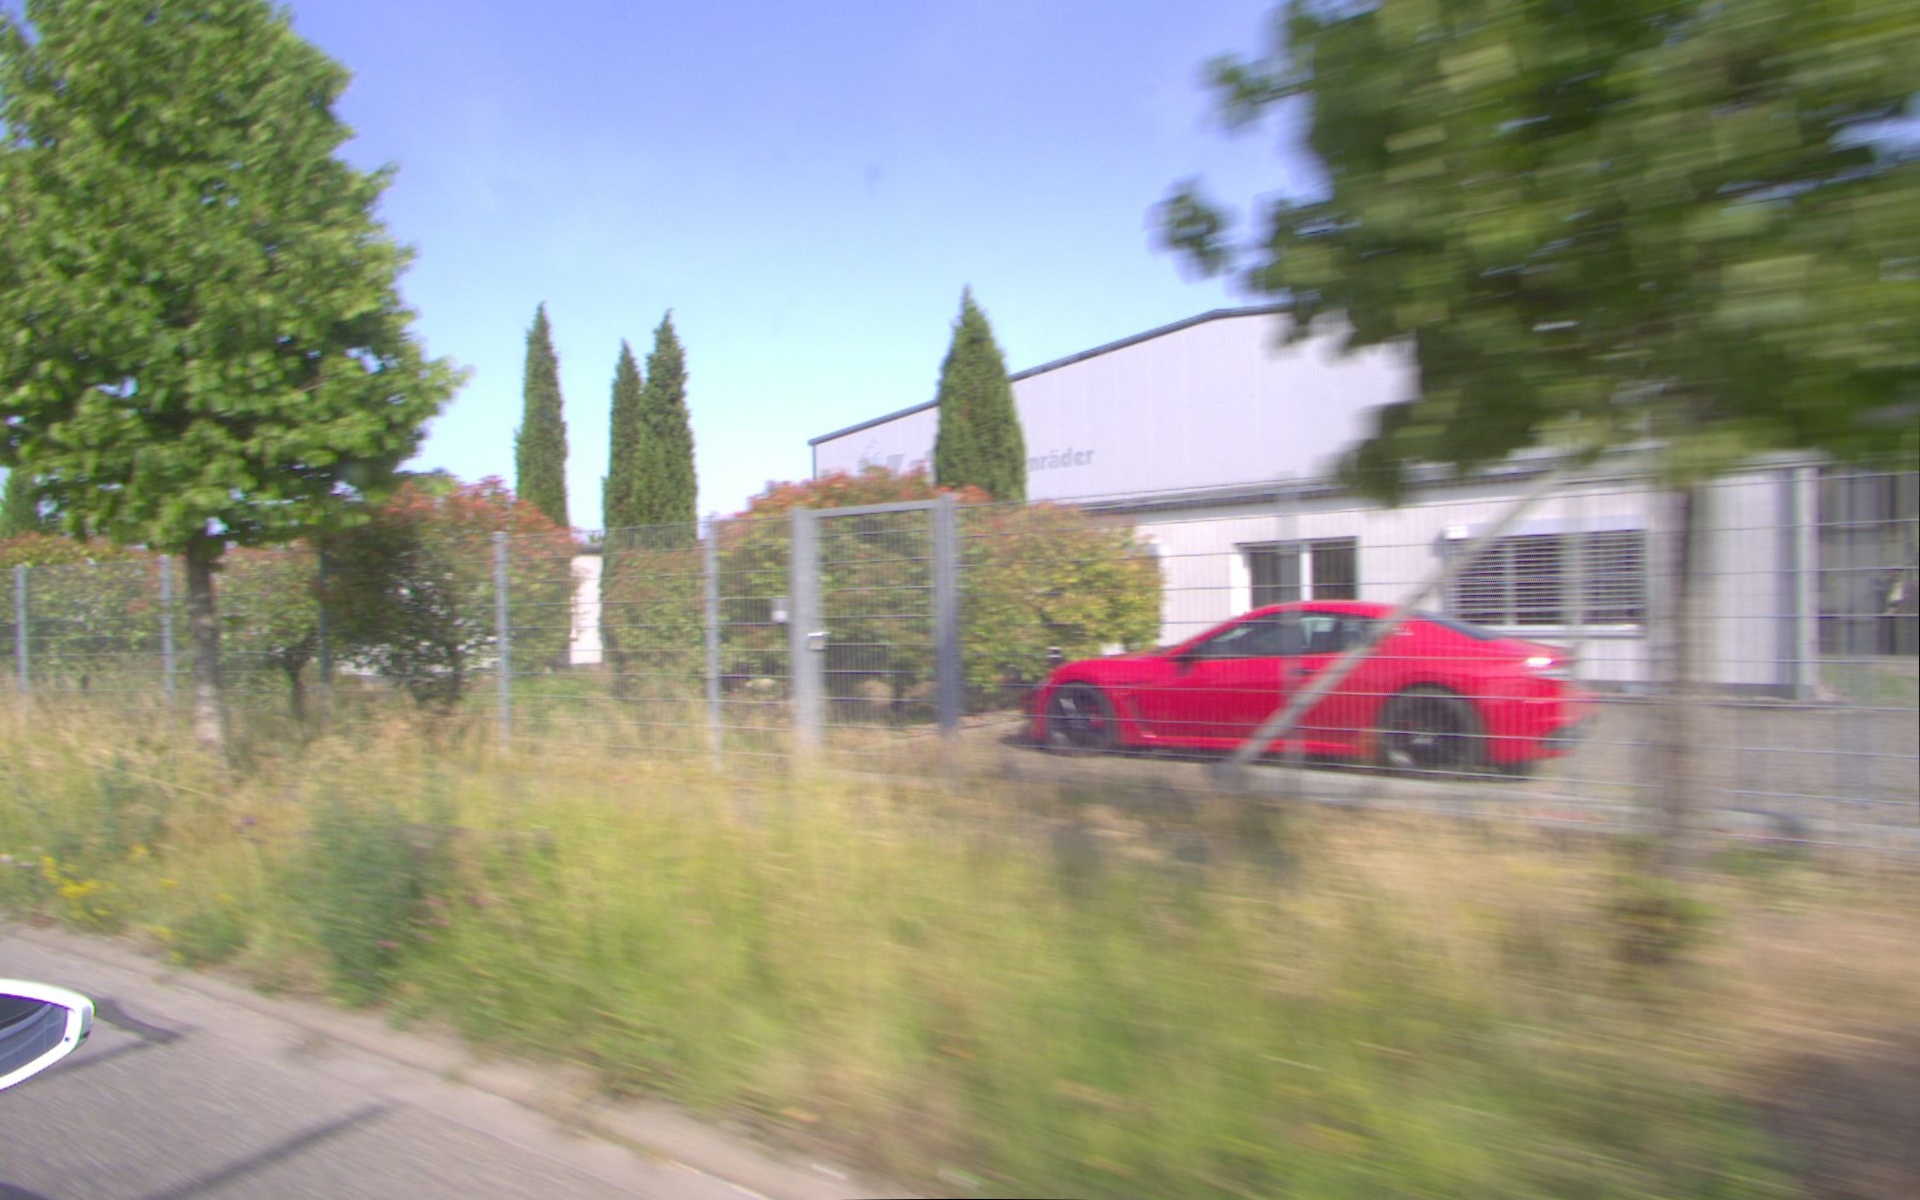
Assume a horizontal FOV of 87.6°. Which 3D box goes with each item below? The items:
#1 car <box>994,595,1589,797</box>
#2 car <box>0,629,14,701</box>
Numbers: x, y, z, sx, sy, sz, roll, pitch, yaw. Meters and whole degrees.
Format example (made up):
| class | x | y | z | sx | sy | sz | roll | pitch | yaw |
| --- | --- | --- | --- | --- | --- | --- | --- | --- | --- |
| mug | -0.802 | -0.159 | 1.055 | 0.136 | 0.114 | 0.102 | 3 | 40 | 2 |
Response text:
| class | x | y | z | sx | sy | sz | roll | pitch | yaw |
| --- | --- | --- | --- | --- | --- | --- | --- | --- | --- |
| car | 2.785 | 0.697 | 8.911 | 4.708 | 1.375 | 1.875 | -1 | 0 | 34 |
| car | -24.084 | 1.515 | 23.560 | 3.943 | 1.664 | 1.719 | -1 | -2 | 32 |
